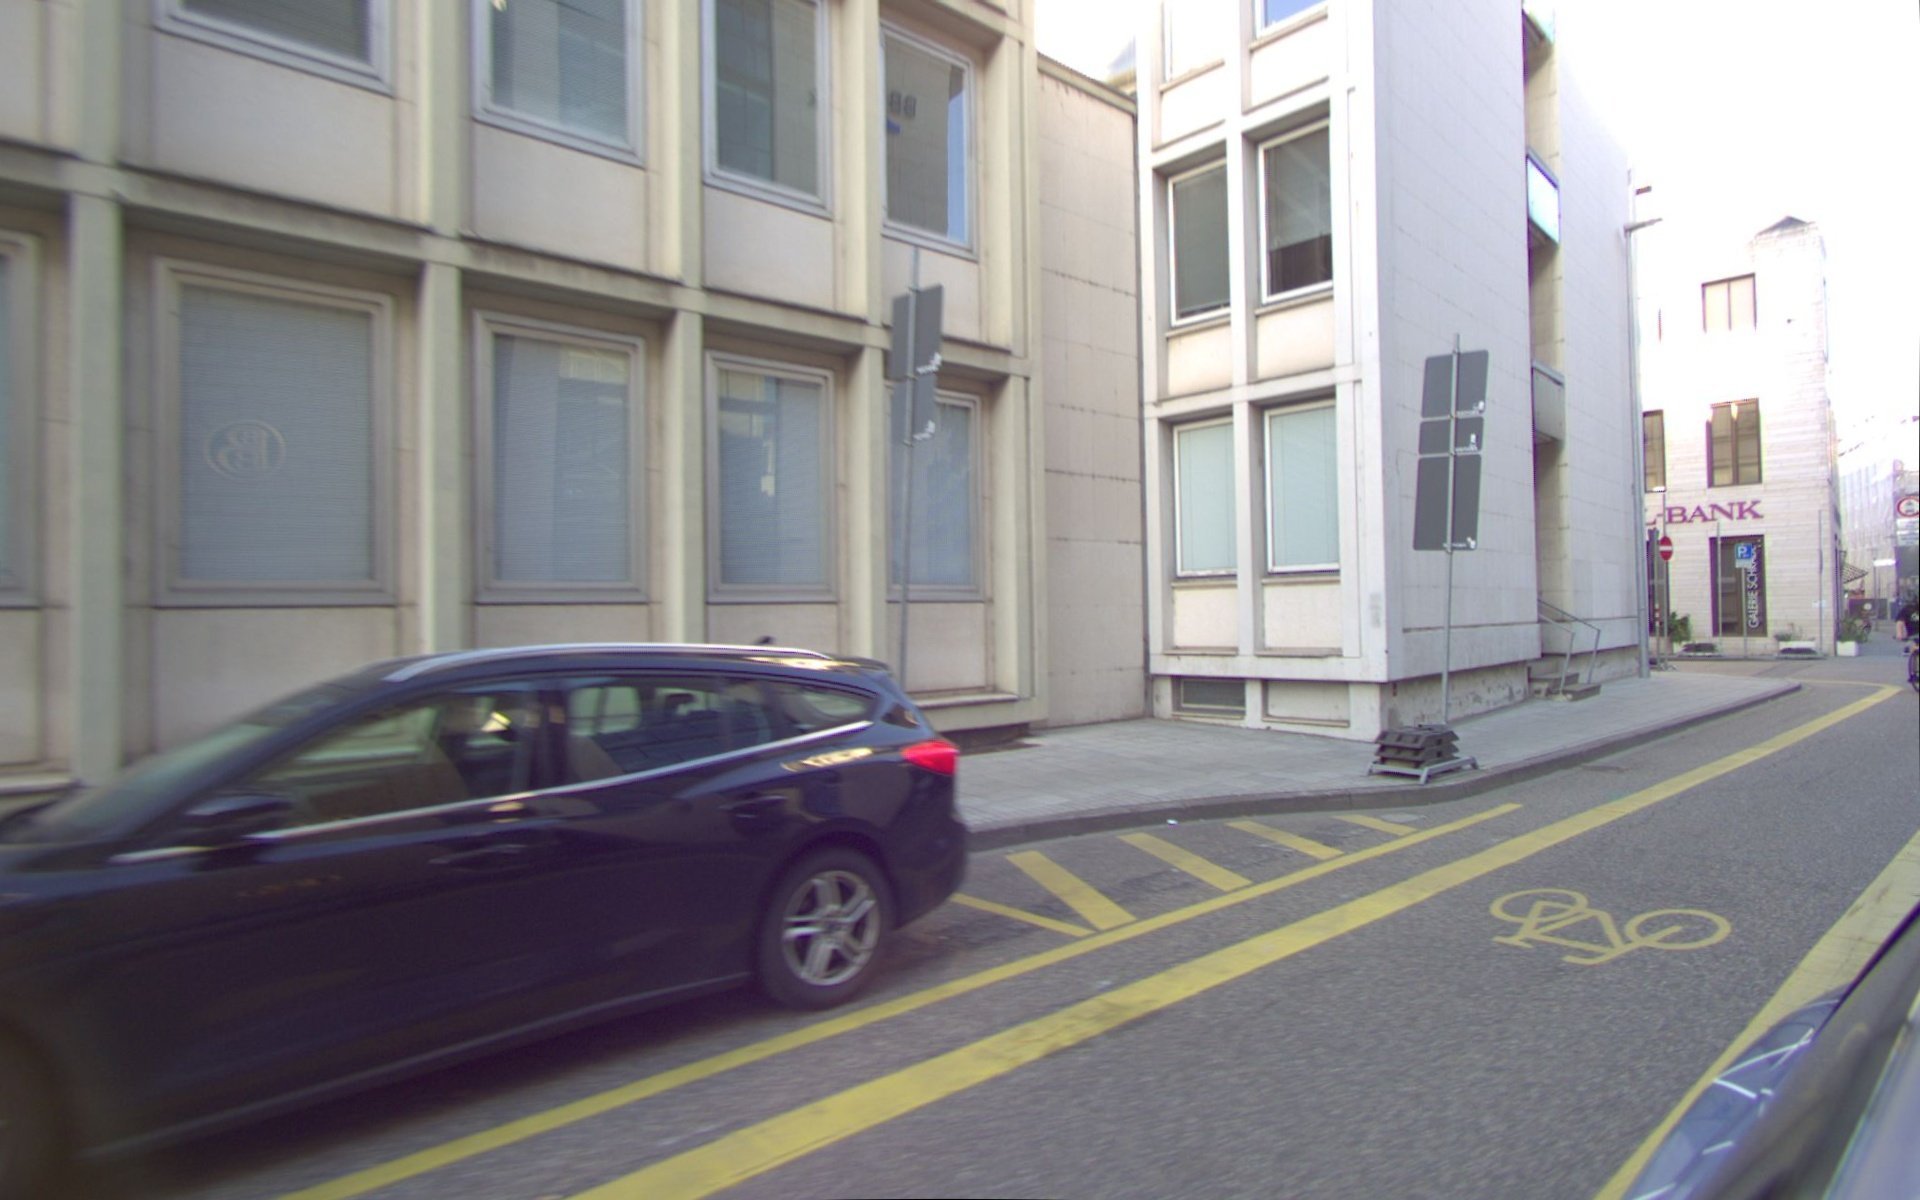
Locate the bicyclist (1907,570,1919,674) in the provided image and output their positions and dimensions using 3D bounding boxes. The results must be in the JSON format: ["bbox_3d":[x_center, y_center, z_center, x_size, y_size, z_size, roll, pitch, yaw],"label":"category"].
[{"bbox_3d":[16.467,0.361,17.053,0.540,1.753,0.502,-1,0,-16],"label":"bicyclist"}]

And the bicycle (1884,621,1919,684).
[{"bbox_3d":[16.551,0.860,17.090,1.782,0.986,0.512,-1,0,-15],"label":"bicycle"}]

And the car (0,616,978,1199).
[{"bbox_3d":[-2.094,0.860,3.990,4.214,1.499,1.784,0,-3,-41],"label":"car"}]
